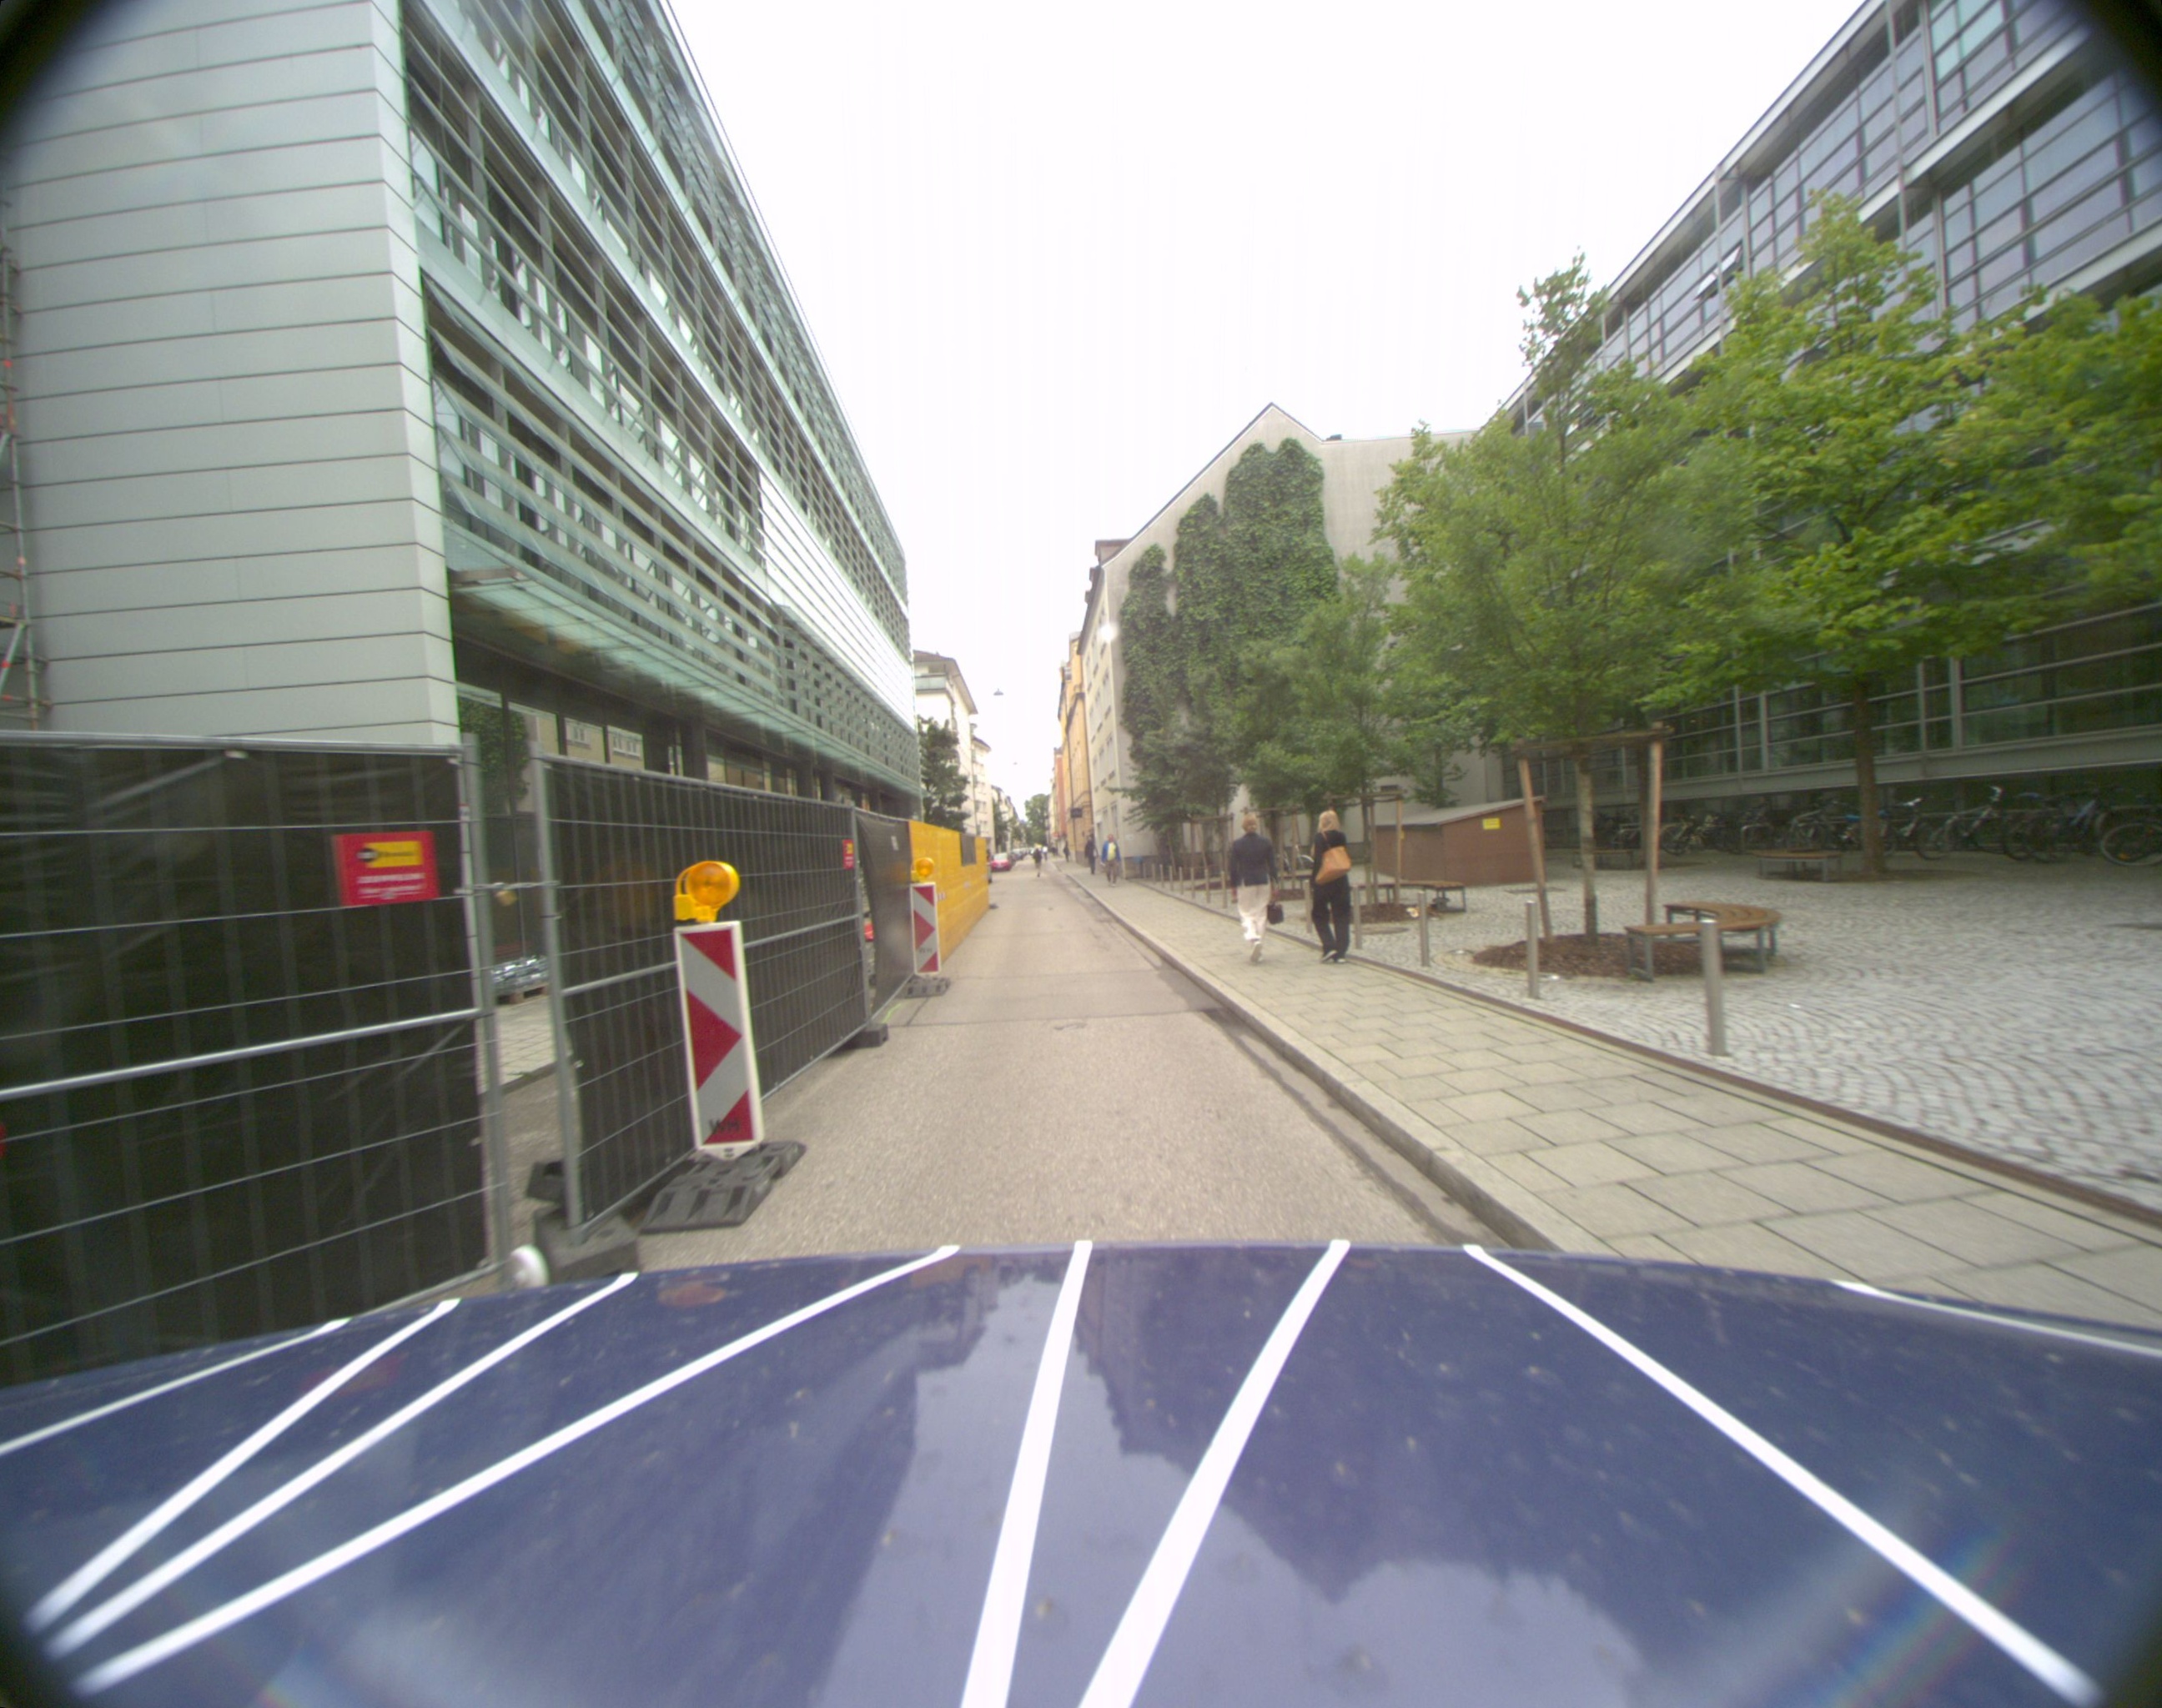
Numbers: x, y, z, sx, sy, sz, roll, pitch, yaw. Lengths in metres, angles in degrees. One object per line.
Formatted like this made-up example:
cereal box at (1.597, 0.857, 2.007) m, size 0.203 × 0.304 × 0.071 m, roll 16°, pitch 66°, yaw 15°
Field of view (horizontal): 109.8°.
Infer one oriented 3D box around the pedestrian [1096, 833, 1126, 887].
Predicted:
pedestrian at (1.057, 0.211, 27.120) m, size 0.861 × 1.834 × 0.973 m, roll -5°, pitch 1°, yaw -1°

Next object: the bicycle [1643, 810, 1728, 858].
bicycle at (15.057, -0.501, 18.953) m, size 1.575 × 1.054 × 0.629 m, roll -4°, pitch 1°, yaw 0°

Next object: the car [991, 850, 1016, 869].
car at (-6.448, 0.405, 63.694) m, size 1.810 × 1.390 × 3.998 m, roll -4°, pitch 1°, yaw -3°

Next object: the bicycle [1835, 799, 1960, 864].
bicycle at (15.053, -0.414, 14.031) m, size 1.575 × 1.054 × 0.629 m, roll -4°, pitch 1°, yaw 0°

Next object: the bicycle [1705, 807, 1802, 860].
bicycle at (15.216, -0.461, 17.208) m, size 1.575 × 1.054 × 0.629 m, roll -4°, pitch 1°, yaw 0°

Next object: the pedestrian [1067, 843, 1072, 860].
pedestrian at (-1.145, -0.227, 75.908) m, size 0.386 × 1.666 × 0.448 m, roll -3°, pitch 2°, yaw -6°

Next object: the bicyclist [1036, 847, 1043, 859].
bicyclist at (-4.859, -0.129, 88.093) m, size 0.700 × 1.400 × 0.768 m, roll -4°, pitch 1°, yaw -4°

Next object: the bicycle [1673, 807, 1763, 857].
bicycle at (15.206, -0.525, 18.154) m, size 1.575 × 1.054 × 0.629 m, roll -4°, pitch 1°, yaw 0°

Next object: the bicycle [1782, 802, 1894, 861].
bicycle at (15.202, -0.447, 15.282) m, size 1.575 × 1.054 × 0.629 m, roll -4°, pitch 1°, yaw 0°

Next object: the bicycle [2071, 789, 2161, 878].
bicycle at (14.740, -0.320, 10.222) m, size 1.901 × 1.099 × 0.666 m, roll -5°, pitch 1°, yaw 1°

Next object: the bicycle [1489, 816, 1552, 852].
bicycle at (15.131, -0.689, 26.175) m, size 1.725 × 1.136 × 0.602 m, roll -4°, pitch 1°, yaw 3°

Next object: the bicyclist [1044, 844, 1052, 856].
bicyclist at (-3.900, -0.501, 89.761) m, size 0.718 × 1.400 × 0.965 m, roll -4°, pitch 1°, yaw -4°

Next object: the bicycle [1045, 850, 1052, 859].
bicycle at (-3.856, 0.072, 89.786) m, size 0.700 × 0.926 × 1.693 m, roll -4°, pitch 1°, yaw -4°

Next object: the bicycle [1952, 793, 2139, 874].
bicycle at (14.712, -0.309, 11.627) m, size 1.901 × 1.052 × 0.705 m, roll -5°, pitch 1°, yaw 1°

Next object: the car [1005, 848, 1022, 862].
car at (-7.126, 0.095, 80.634) m, size 1.625 × 1.259 × 4.327 m, roll -4°, pitch 1°, yaw -3°

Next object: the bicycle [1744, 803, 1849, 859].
bicycle at (15.108, -0.484, 16.068) m, size 1.575 × 1.054 × 0.629 m, roll -4°, pitch 1°, yaw 0°

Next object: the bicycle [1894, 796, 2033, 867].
bicycle at (14.949, -0.380, 12.894) m, size 1.575 × 1.054 × 0.629 m, roll -4°, pitch 1°, yaw 0°

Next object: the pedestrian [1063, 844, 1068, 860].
pedestrian at (-1.516, -0.206, 75.886) m, size 0.352 × 1.632 × 0.401 m, roll -4°, pitch 1°, yaw -3°

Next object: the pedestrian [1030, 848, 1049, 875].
pedestrian at (-2.398, 0.439, 43.958) m, size 0.712 × 1.543 × 0.775 m, roll -5°, pitch 1°, yaw -25°

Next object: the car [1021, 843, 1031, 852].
car at (-12.237, -1.414, 169.861) m, size 1.999 × 1.844 × 4.389 m, roll -4°, pitch 1°, yaw -3°

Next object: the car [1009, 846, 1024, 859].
car at (-8.684, -0.192, 103.151) m, size 1.794 × 1.550 × 3.998 m, roll -4°, pitch 1°, yaw -3°

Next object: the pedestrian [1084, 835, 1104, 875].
pedestrian at (0.646, 0.043, 38.005) m, size 0.745 × 1.892 × 0.878 m, roll -5°, pitch 1°, yaw -3°

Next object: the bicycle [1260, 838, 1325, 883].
bicycle at (6.130, 0.193, 22.144) m, size 0.714 × 1.202 × 1.995 m, roll -6°, pitch 2°, yaw -21°

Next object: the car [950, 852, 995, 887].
car at (-5.311, 0.731, 37.607) m, size 1.877 × 1.477 × 4.276 m, roll -4°, pitch 1°, yaw -5°

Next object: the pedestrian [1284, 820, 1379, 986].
pedestrian at (2.689, 0.494, 8.232) m, size 0.554 × 1.650 × 0.997 m, roll -4°, pitch 1°, yaw -3°

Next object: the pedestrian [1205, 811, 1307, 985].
pedestrian at (1.973, 0.469, 8.673) m, size 0.778 × 1.826 × 0.991 m, roll -4°, pitch 1°, yaw -3°
